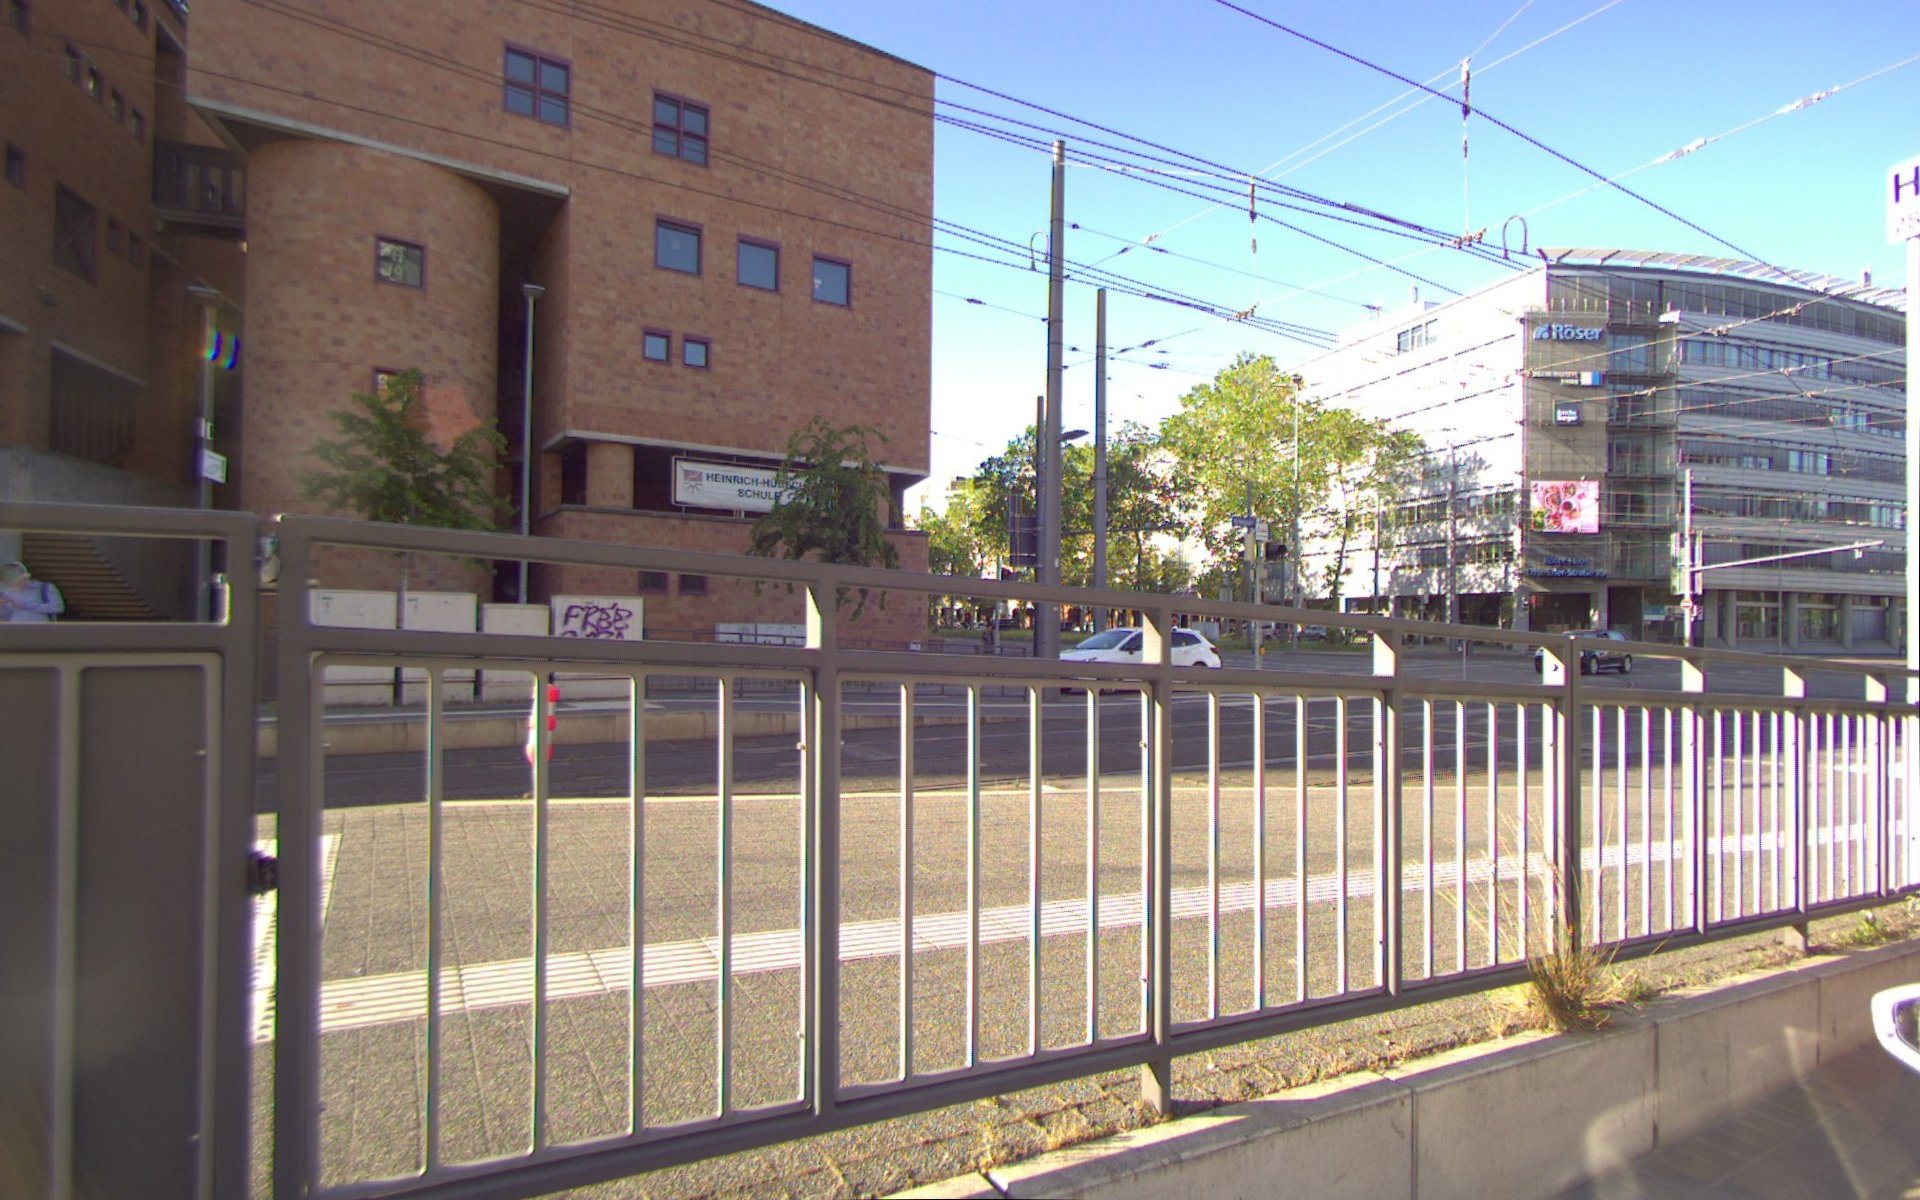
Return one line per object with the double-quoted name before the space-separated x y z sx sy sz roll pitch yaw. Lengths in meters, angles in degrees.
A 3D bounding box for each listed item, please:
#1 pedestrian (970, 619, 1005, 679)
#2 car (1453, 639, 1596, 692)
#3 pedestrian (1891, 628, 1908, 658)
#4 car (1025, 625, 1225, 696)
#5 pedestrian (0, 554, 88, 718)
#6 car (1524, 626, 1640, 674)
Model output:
"pedestrian" 0.808 1.421 29.416 0.785 1.714 0.587 2 0 -29
"car" 13.677 1.559 24.387 2.841 1.077 1.238 2 0 40
"pedestrian" 65.558 2.987 70.114 0.745 2.040 0.627 2 0 -30
"car" 3.777 1.299 22.681 4.484 1.449 1.814 1 -1 -35
"pedestrian" -9.686 0.372 10.549 0.679 1.656 0.662 2 0 -34
"car" 21.134 1.693 34.082 4.198 1.449 1.813 2 0 -34
